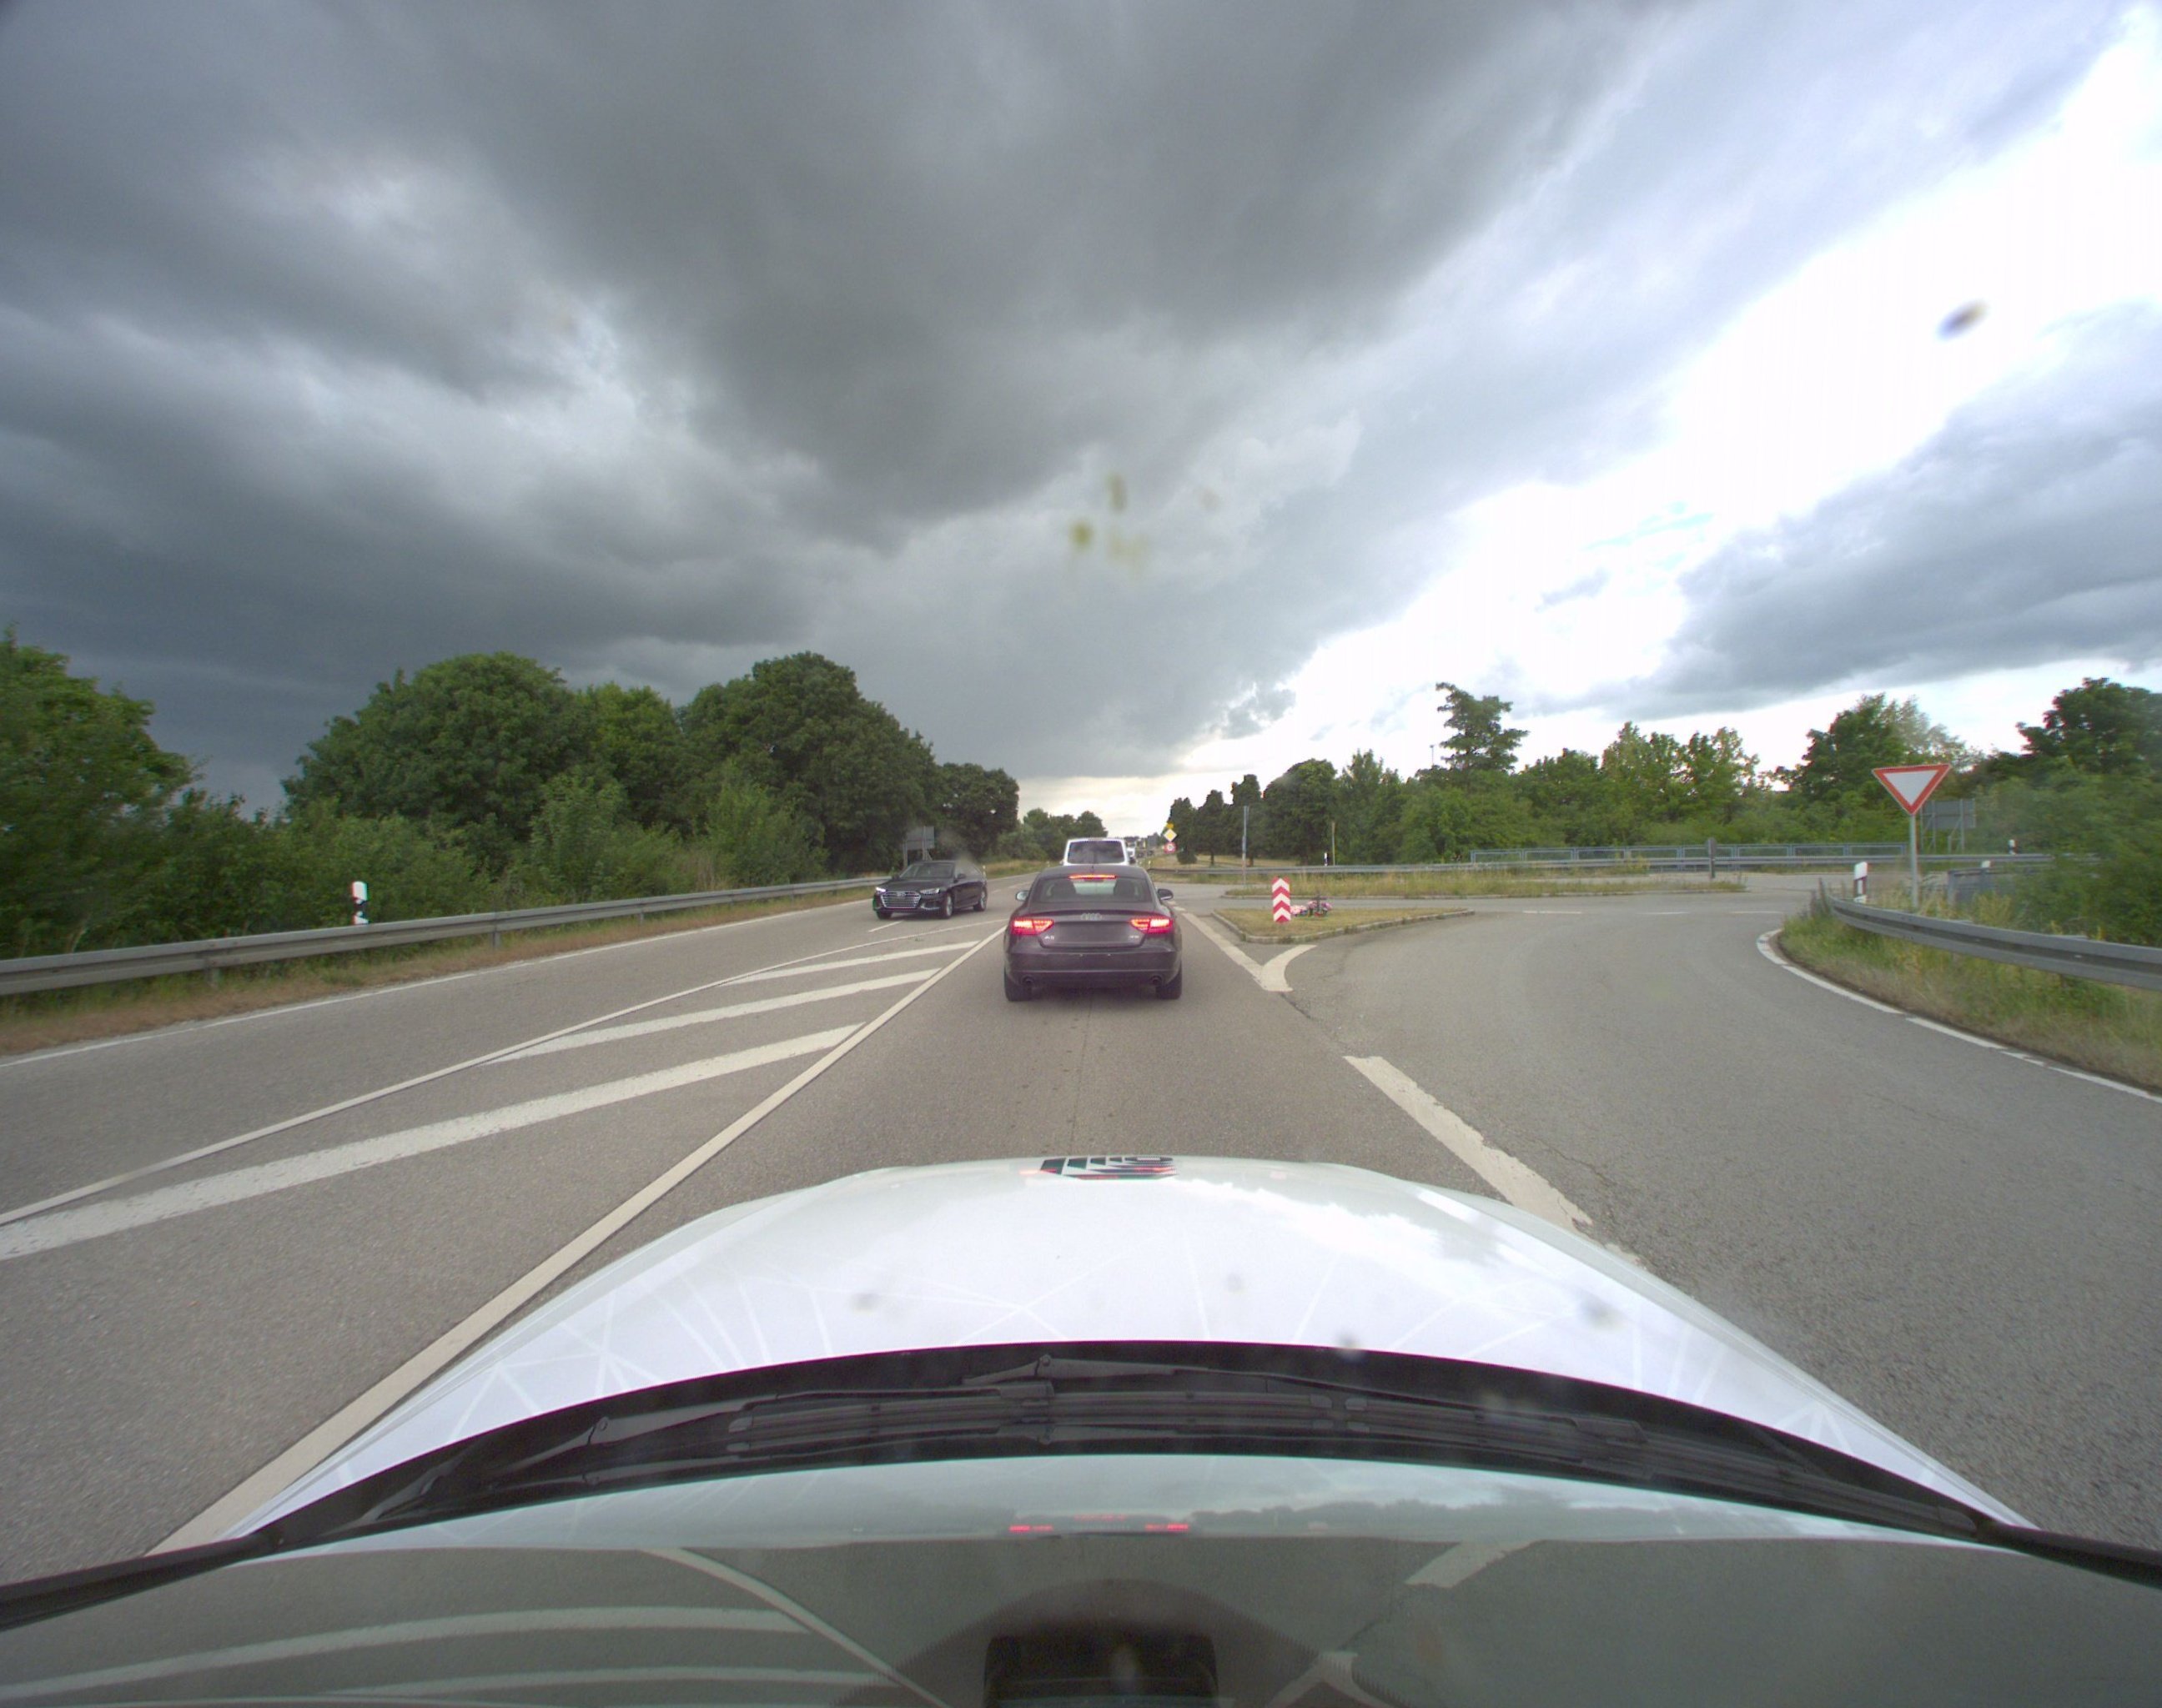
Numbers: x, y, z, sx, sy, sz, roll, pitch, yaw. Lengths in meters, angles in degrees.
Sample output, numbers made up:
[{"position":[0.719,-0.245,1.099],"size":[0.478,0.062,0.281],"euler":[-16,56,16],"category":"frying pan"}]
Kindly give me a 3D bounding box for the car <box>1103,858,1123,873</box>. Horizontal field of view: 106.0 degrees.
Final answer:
[{"position":[3.158,1.109,80.190],"size":[1.787,1.464,3.253],"euler":[-1,0,5],"category":"car"}]

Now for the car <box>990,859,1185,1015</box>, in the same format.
[{"position":[0.121,0.772,9.478],"size":[1.776,1.376,4.002],"euler":[-1,0,2],"category":"car"}]

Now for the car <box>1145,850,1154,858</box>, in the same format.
[{"position":[18.026,0.037,215.222],"size":[1.986,2.013,4.001],"euler":[-1,0,1],"category":"car"}]

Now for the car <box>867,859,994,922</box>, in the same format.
[{"position":[-3.733,0.860,21.104],"size":[1.810,1.374,4.622],"euler":[-1,0,8],"category":"car"}]

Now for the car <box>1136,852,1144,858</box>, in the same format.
[{"position":[13.645,0.197,188.286],"size":[1.712,1.451,4.003],"euler":[-1,0,3],"category":"car"}]

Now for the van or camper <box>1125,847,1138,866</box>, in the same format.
[{"position":[9.438,0.507,152.855],"size":[2.330,3.481,5.724],"euler":[-1,0,4],"category":"van or camper"}]

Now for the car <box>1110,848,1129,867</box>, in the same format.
[{"position":[4.505,0.360,94.363],"size":[1.984,2.088,4.005],"euler":[-2,0,5],"category":"car"}]

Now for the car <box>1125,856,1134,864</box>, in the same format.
[{"position":[8.045,0.959,135.456],"size":[1.251,1.353,3.473],"euler":[-2,0,8],"category":"car"}]

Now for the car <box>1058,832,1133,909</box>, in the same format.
[{"position":[0.417,0.404,22.157],"size":[1.832,1.882,4.002],"euler":[-1,0,2],"category":"car"}]
